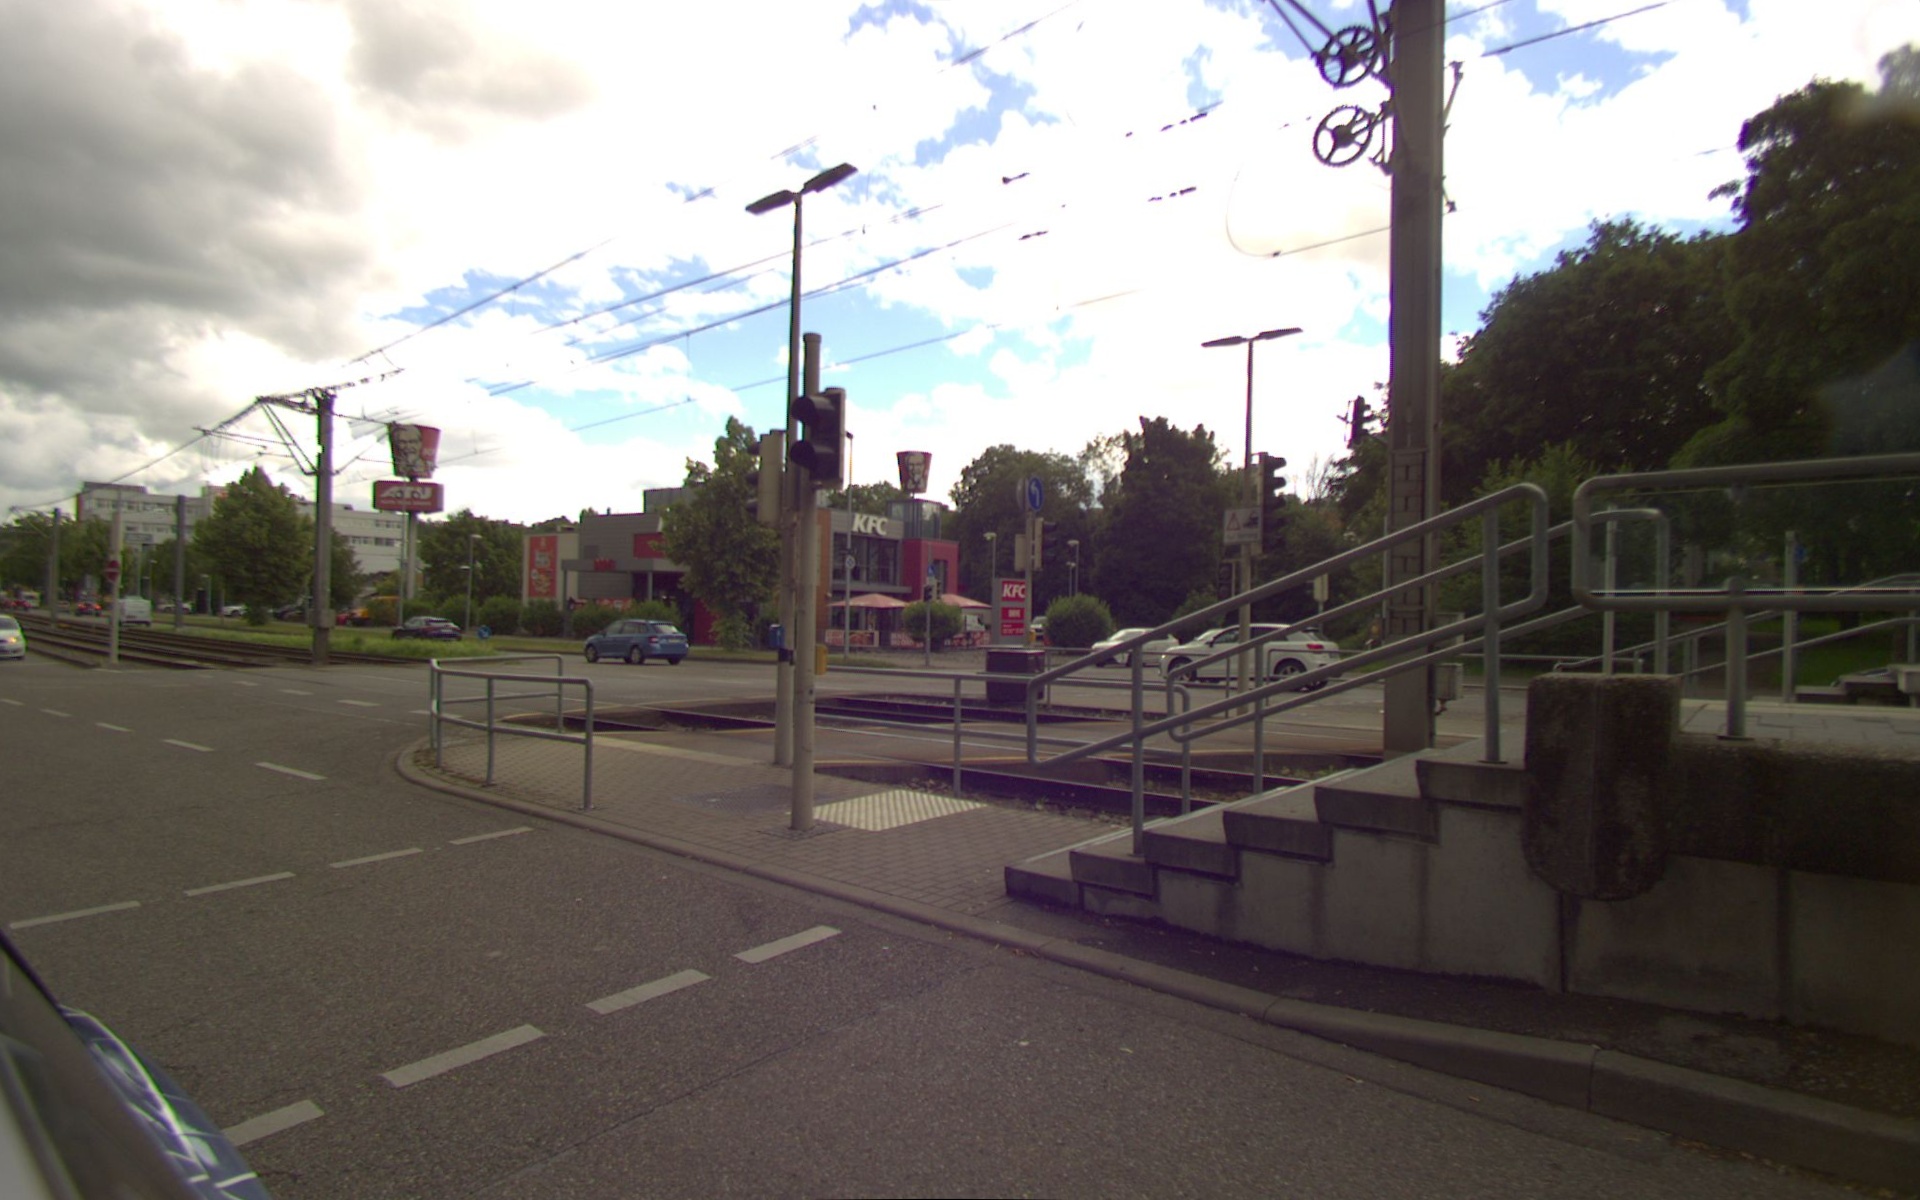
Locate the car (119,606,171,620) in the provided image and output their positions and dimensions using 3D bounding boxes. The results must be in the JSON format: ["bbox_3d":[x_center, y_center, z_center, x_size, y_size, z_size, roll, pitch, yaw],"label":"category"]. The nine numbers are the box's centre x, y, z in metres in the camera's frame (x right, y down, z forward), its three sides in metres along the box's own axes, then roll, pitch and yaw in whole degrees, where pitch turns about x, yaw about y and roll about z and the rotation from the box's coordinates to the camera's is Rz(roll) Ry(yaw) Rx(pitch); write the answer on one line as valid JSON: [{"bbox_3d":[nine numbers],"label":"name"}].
[{"bbox_3d":[-94.757,1.528,117.732,4.548,1.504,2.001,-2,1,-45],"label":"car"}]

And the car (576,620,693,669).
[{"bbox_3d":[-10.787,1.446,33.413,4.046,1.457,1.580,0,-3,36],"label":"car"}]

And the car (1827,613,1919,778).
[{"bbox_3d":[12.757,1.137,11.767,3.996,1.874,1.680,0,1,39],"label":"car"}]

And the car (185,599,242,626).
[{"bbox_3d":[-79.689,1.338,108.092,2.288,2.769,4.422,0,-2,42],"label":"car"}]

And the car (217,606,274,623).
[{"bbox_3d":[-72.482,1.456,102.672,1.794,1.518,4.426,0,1,39],"label":"car"}]

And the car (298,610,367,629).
[{"bbox_3d":[-51.100,1.553,82.445,2.195,1.364,4.327,0,1,42],"label":"car"}]

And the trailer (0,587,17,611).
[{"bbox_3d":[-163.259,-0.149,172.247,14.424,3.926,2.642,0,-3,43],"label":"trailer"}]

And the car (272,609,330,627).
[{"bbox_3d":[-59.367,1.590,91.204,1.937,1.518,3.945,0,1,42],"label":"car"}]

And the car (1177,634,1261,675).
[{"bbox_3d":[10.721,2.221,41.675,1.846,1.564,3.946,0,-2,40],"label":"car"}]

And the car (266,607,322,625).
[{"bbox_3d":[-61.225,1.420,93.096,2.001,1.518,3.945,0,1,42],"label":"car"}]

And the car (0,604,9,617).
[{"bbox_3d":[-130.141,1.391,136.646,4.476,1.594,1.766,0,-2,38],"label":"car"}]

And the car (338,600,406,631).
[{"bbox_3d":[-43.580,1.099,75.055,2.058,2.182,3.945,0,1,42],"label":"car"}]

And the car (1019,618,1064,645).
[{"bbox_3d":[6.395,2.413,78.691,1.993,2.029,3.958,-1,-1,31],"label":"car"}]

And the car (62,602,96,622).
[{"bbox_3d":[-94.097,1.244,108.052,4.242,2.029,1.974,0,-1,38],"label":"car"}]

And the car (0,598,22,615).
[{"bbox_3d":[-121.128,0.823,128.788,3.995,2.029,1.974,0,-3,38],"label":"car"}]

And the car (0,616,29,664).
[{"bbox_3d":[-32.086,1.292,33.237,3.997,1.455,1.764,0,1,40],"label":"car"}]

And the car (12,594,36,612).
[{"bbox_3d":[-138.127,0.383,149.314,5.997,2.518,1.849,0,-3,41],"label":"car"}]

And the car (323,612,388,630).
[{"bbox_3d":[-47.125,1.608,78.988,1.999,1.245,3.945,0,1,42],"label":"car"}]

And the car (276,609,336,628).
[{"bbox_3d":[-56.440,1.576,87.386,1.937,1.431,3.945,0,1,42],"label":"car"}]

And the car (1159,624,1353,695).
[{"bbox_3d":[6.829,1.340,23.505,3.993,1.457,1.670,0,-3,37],"label":"car"}]

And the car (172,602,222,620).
[{"bbox_3d":[-86.466,1.261,114.757,4.295,1.933,2.001,-2,1,-45],"label":"car"}]

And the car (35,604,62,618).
[{"bbox_3d":[-113.383,1.362,125.904,3.999,1.494,1.972,0,-3,42],"label":"car"}]

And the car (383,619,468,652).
[{"bbox_3d":[-26.068,1.716,49.300,4.501,1.493,1.974,-1,-4,38],"label":"car"}]

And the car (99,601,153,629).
[{"bbox_3d":[-62.880,1.130,76.263,4.877,2.029,1.975,0,-2,37],"label":"car"}]

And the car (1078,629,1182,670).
[{"bbox_3d":[6.379,1.814,37.789,3.831,1.419,1.849,2,-2,-42],"label":"car"}]
